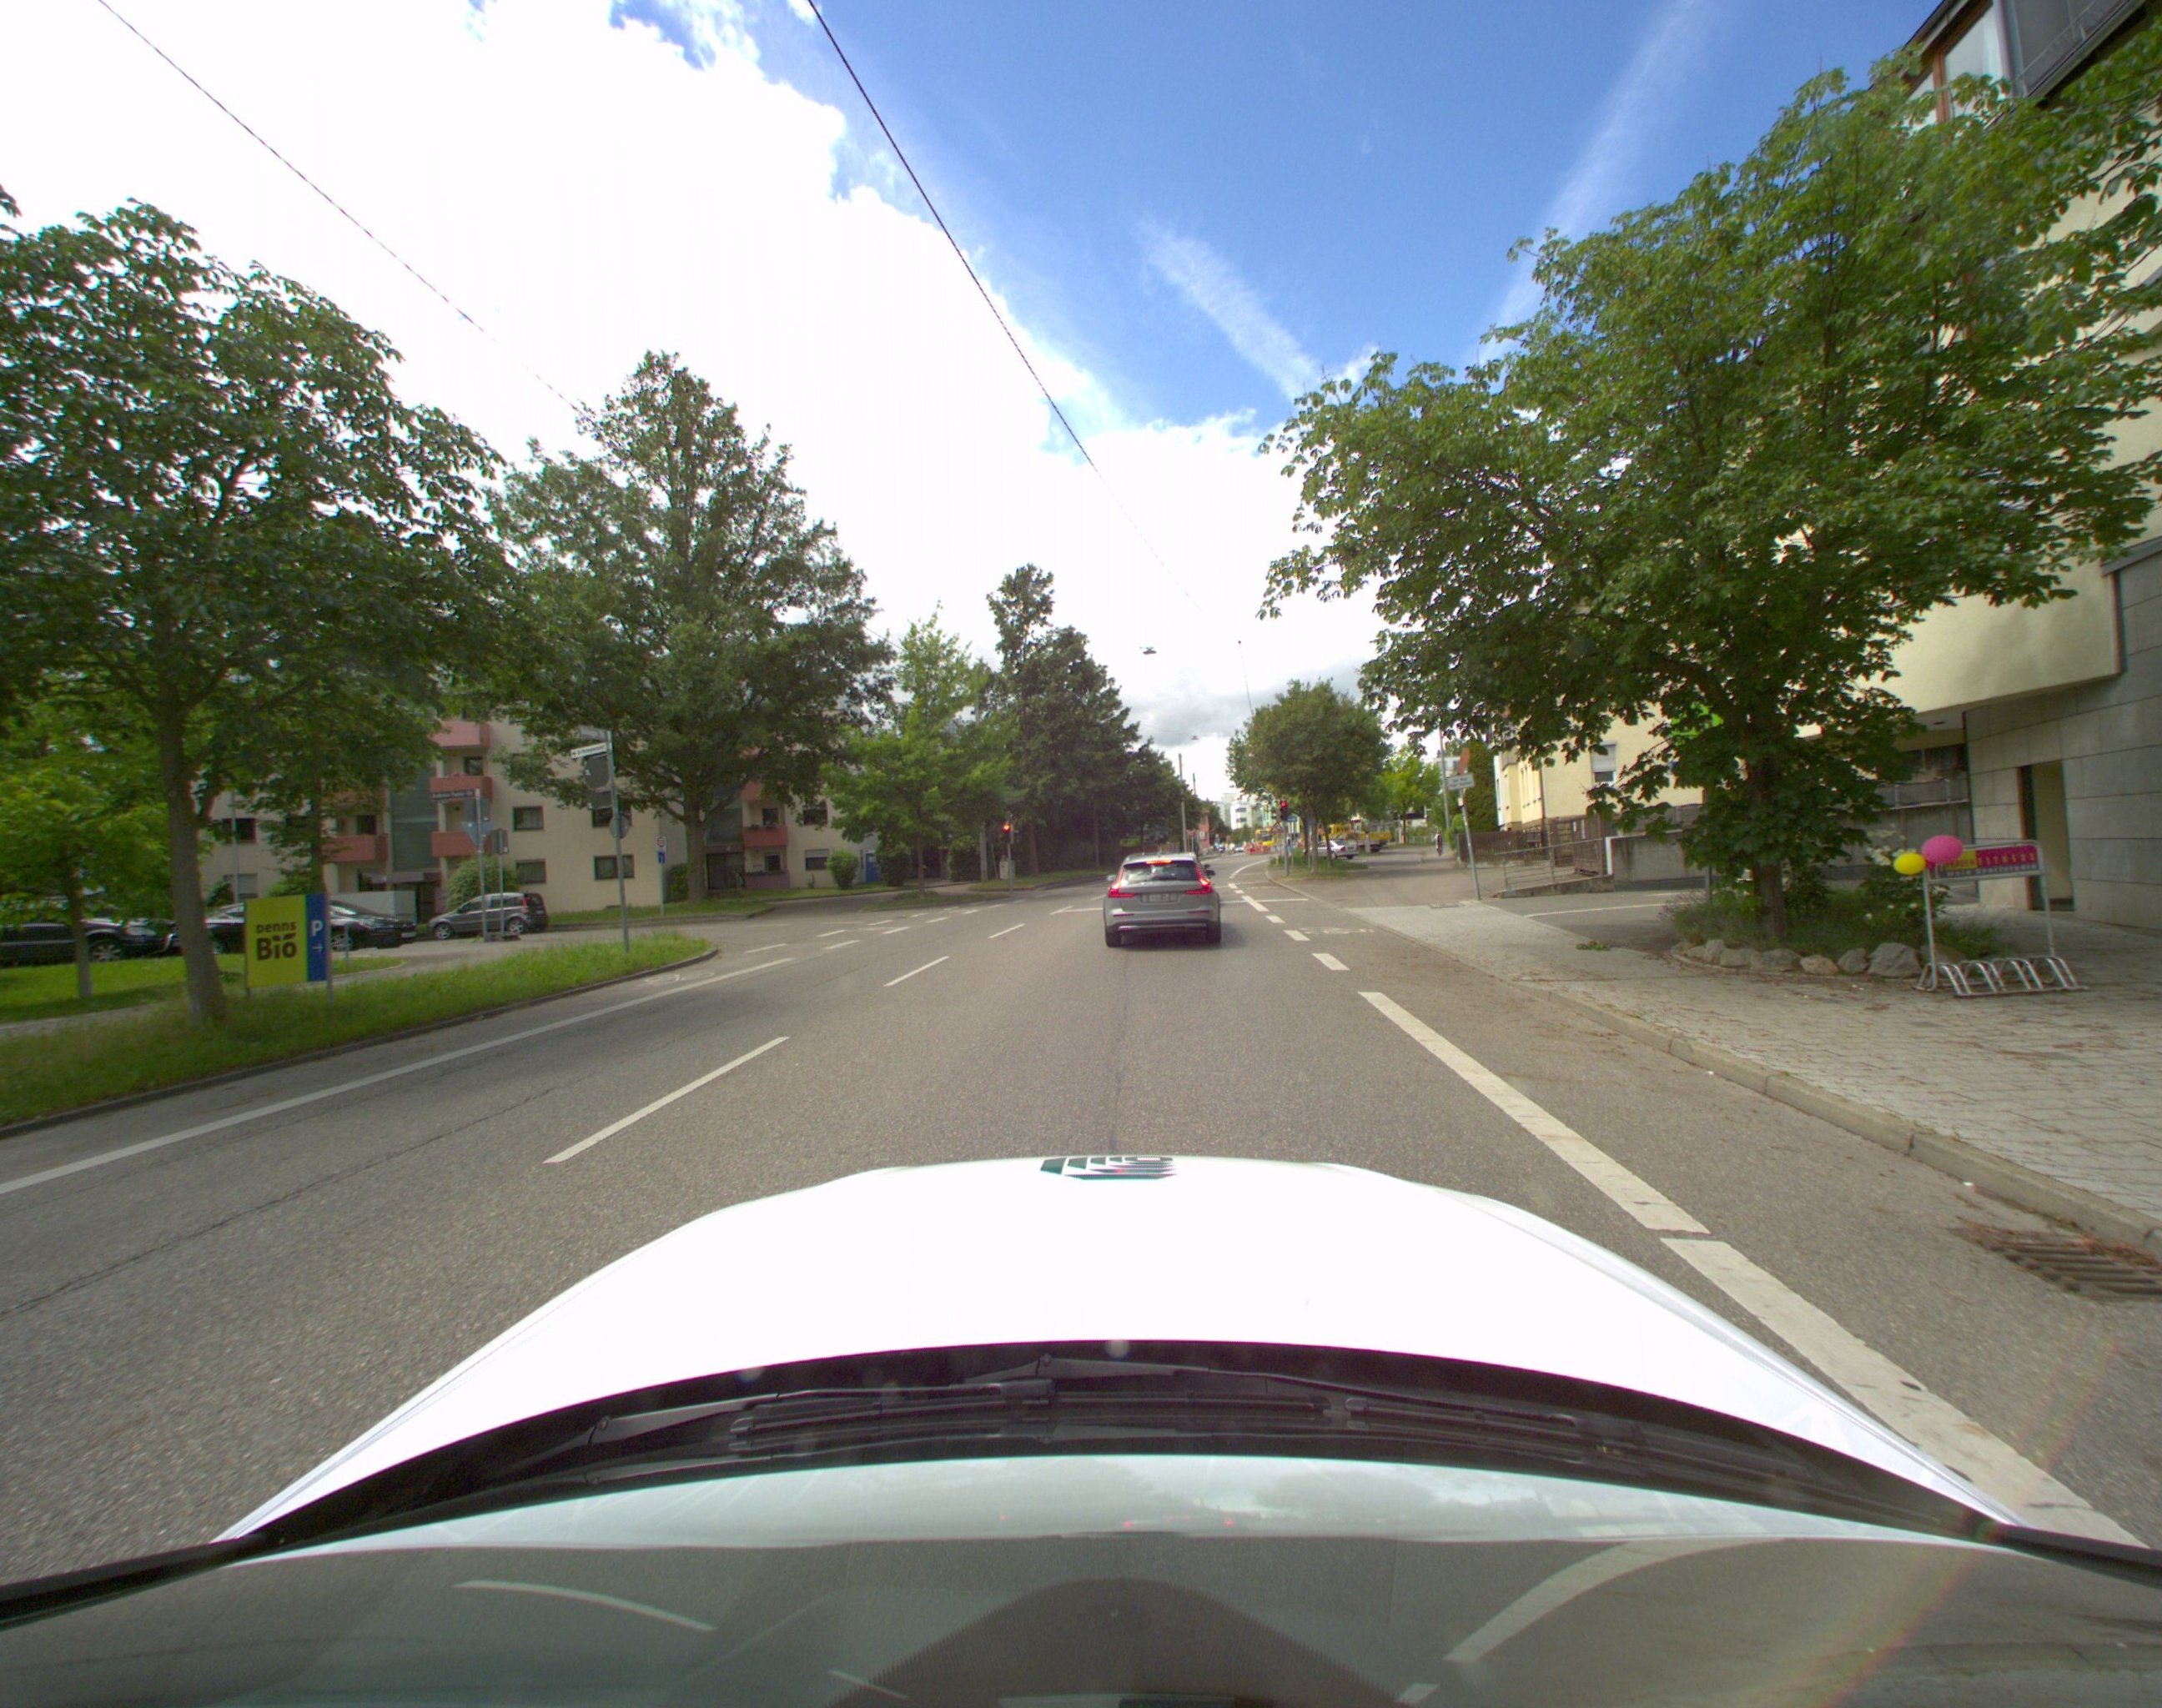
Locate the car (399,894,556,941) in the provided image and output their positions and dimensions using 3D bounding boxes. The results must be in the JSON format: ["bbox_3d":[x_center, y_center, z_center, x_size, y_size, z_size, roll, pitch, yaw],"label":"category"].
[{"bbox_3d":[-21.238,2.243,28.822,4.073,1.400,1.790,-2,-4,-7],"label":"car"}]

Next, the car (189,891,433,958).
[{"bbox_3d":[-18.915,1.728,20.185,4.073,1.400,1.790,-2,-4,-7],"label":"car"}]

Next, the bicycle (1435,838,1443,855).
[{"bbox_3d":[24.082,-0.489,54.774,0.457,1.035,2.779,-3,-1,24],"label":"bicycle"}]

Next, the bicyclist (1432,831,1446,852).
[{"bbox_3d":[24.043,-0.837,54.730,0.771,1.399,0.706,-3,-1,23],"label":"bicyclist"}]

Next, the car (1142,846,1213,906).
[{"bbox_3d":[2.747,0.551,22.907,1.794,1.523,4.338,0,0,7],"label":"car"}]

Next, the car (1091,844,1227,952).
[{"bbox_3d":[1.513,0.650,14.395,1.944,1.523,4.340,-4,0,9],"label":"car"}]

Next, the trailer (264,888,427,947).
[{"bbox_3d":[-25.515,2.208,28.369,3.905,1.799,1.625,-2,-4,-9],"label":"trailer"}]

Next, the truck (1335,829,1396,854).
[{"bbox_3d":[25.874,-1.132,73.990,5.632,2.014,2.069,-2,-1,-30],"label":"truck"}]

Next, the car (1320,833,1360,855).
[{"bbox_3d":[25.116,-0.952,79.004,3.783,2.014,1.724,-1,-2,-34],"label":"car"}]

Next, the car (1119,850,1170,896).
[{"bbox_3d":[2.314,0.689,30.463,1.797,1.616,4.332,0,-1,3],"label":"car"}]

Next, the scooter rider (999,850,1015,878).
[{"bbox_3d":[-4.615,0.616,50.673,0.710,1.727,0.673,-1,-2,-32],"label":"scooter rider"}]

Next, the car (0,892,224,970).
[{"bbox_3d":[-24.001,1.853,19.694,4.171,1.523,1.897,-3,-1,-7],"label":"car"}]
